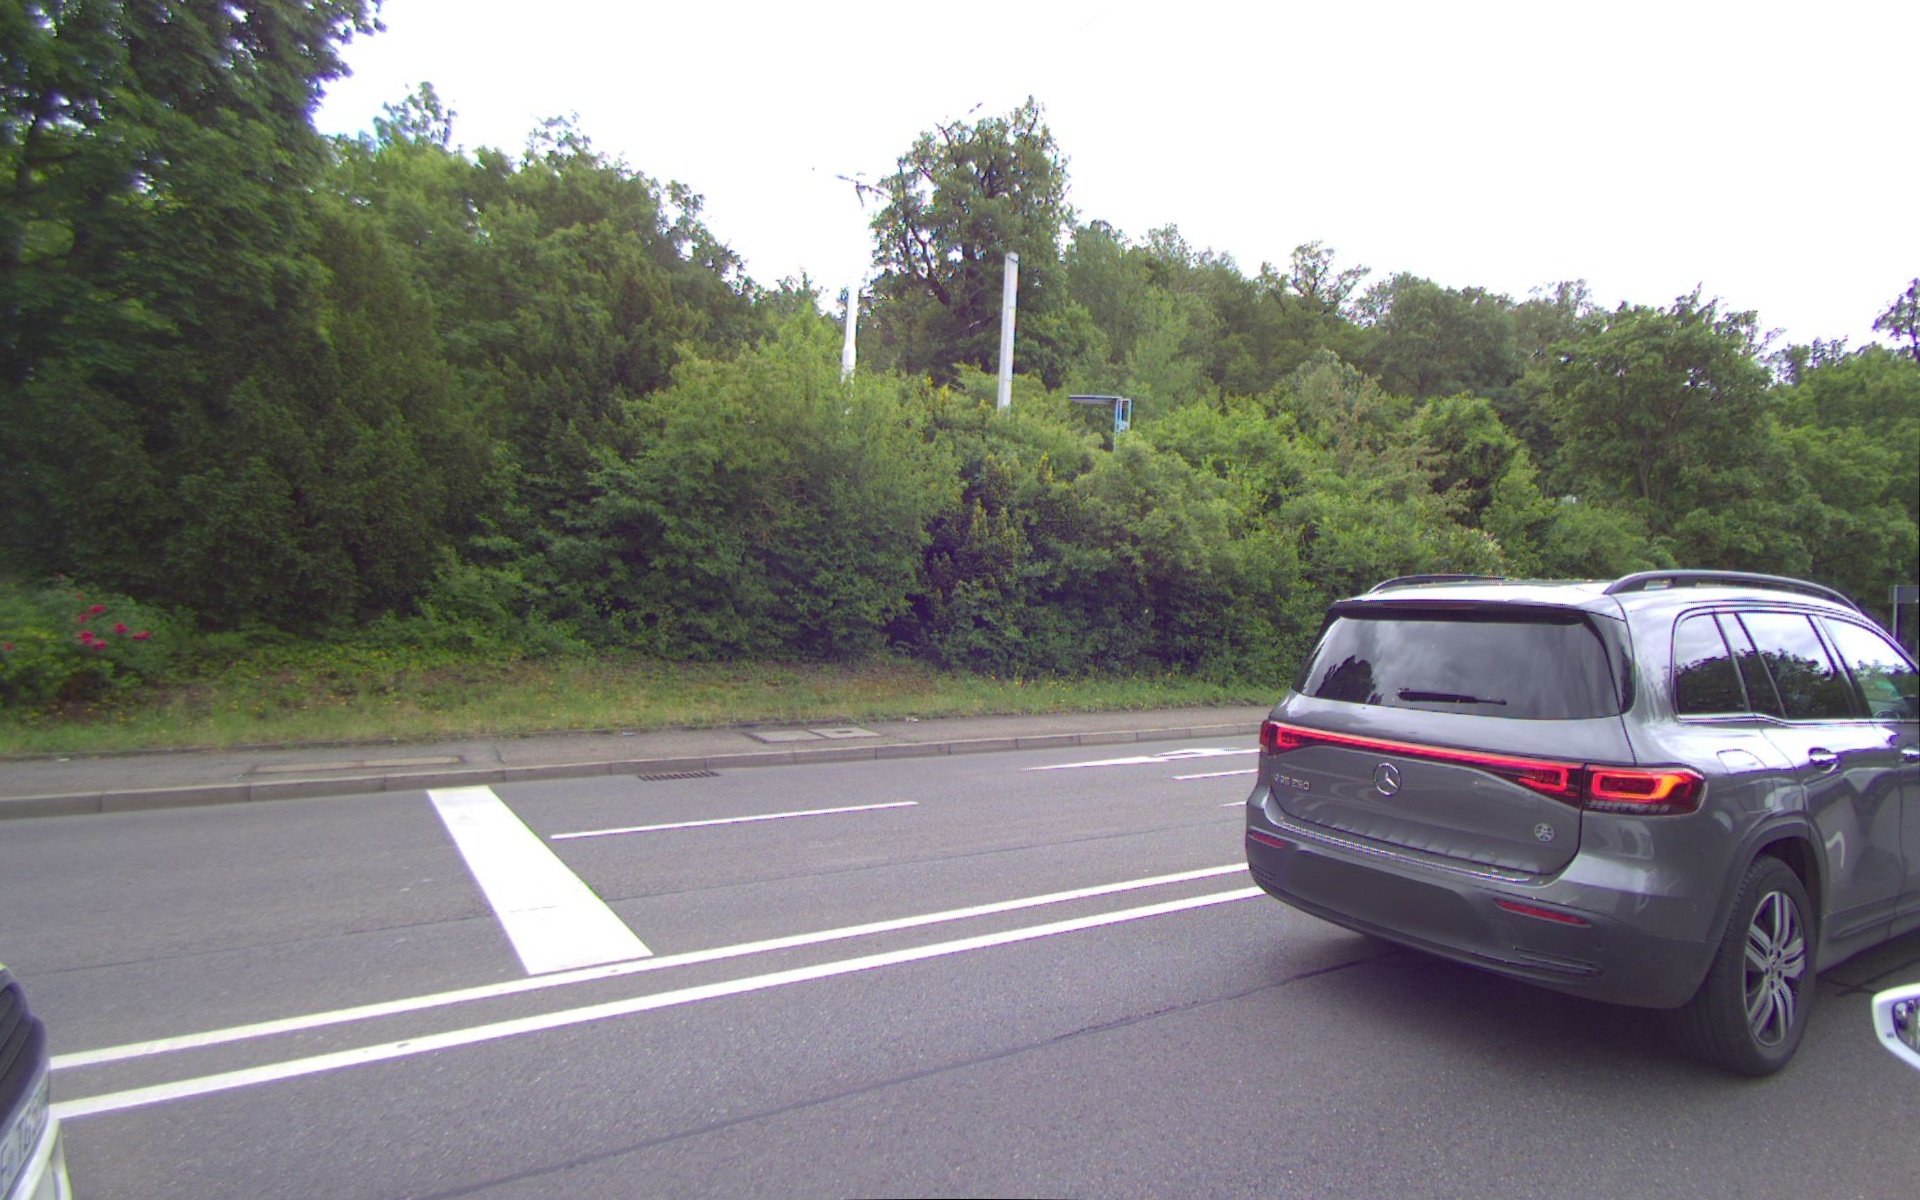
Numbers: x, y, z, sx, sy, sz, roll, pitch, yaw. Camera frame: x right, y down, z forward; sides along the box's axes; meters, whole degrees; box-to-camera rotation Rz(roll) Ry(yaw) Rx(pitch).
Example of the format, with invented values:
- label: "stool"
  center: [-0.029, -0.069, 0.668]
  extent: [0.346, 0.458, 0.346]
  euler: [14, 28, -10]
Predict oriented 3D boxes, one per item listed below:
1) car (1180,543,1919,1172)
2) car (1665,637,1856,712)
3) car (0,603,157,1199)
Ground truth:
- label: "car"
  center: [3.238, 0.736, 4.609]
  extent: [4.309, 1.673, 1.839]
  euler: [1, -1, -32]
- label: "car"
  center: [16.529, 1.478, 20.693]
  extent: [4.310, 1.414, 1.671]
  euler: [2, -2, -31]
- label: "car"
  center: [-3.140, 0.692, 0.791]
  extent: [3.691, 1.443, 1.675]
  euler: [1, -1, -32]
